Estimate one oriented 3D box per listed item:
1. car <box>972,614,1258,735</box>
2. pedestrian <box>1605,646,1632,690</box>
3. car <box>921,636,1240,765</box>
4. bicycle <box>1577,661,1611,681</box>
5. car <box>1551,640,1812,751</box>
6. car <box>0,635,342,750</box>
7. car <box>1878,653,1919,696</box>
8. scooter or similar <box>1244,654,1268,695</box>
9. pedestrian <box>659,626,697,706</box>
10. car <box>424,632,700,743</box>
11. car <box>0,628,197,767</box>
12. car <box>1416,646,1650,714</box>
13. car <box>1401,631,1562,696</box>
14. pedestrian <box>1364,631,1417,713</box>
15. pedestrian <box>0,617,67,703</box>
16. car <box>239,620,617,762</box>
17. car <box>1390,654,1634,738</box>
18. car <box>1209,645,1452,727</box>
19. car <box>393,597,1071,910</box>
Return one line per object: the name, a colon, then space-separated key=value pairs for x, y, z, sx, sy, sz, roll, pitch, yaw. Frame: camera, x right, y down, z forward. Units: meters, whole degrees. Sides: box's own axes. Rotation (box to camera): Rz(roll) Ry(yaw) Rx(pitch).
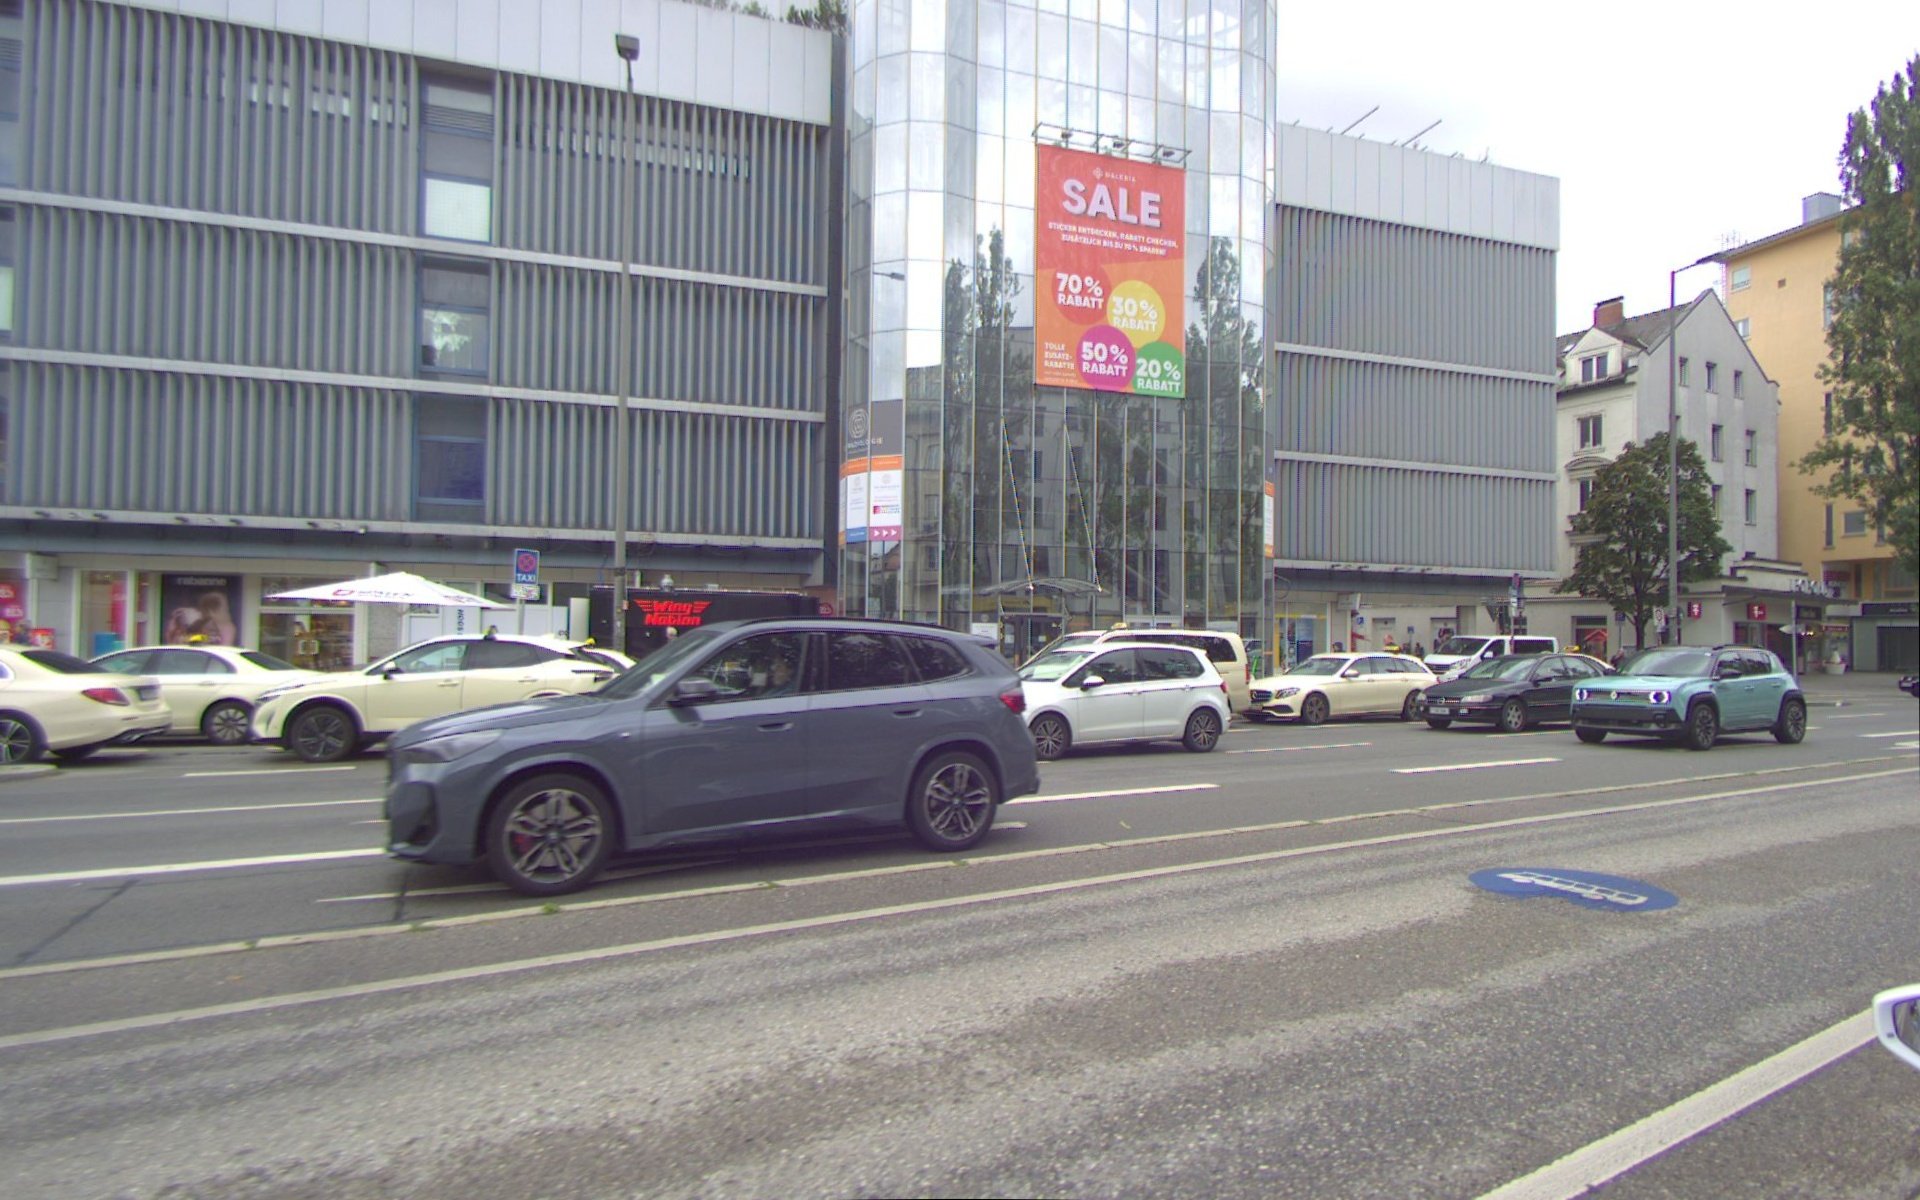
car: x=3.003 y=1.378 z=19.131 sx=5.254 sy=2.040 sz=1.986 roll=2 pitch=-3 yaw=-28
pedestrian: x=22.937 y=2.366 z=34.992 sx=0.647 sy=1.514 sz=0.543 roll=1 pitch=-2 yaw=-26
car: x=1.771 y=1.349 z=14.528 sx=4.237 sy=1.621 sz=1.986 roll=2 pitch=-3 yaw=-29
bicycle: x=30.897 y=3.458 z=48.957 sx=1.855 sy=0.976 sz=0.457 roll=1 pitch=-2 yaw=-25
car: x=11.513 y=1.461 z=16.005 sx=3.951 sy=1.565 sz=1.810 roll=2 pitch=-4 yaw=-29
car: x=-11.750 y=1.319 z=15.051 sx=3.942 sy=1.556 sz=1.749 roll=1 pitch=-2 yaw=-23
car: x=35.216 y=2.599 z=34.911 sx=4.418 sy=1.458 sz=1.929 roll=-1 pitch=-3 yaw=20
scooter or similar: x=8.847 y=2.223 z=30.034 sx=0.991 sy=1.188 sz=0.251 roll=2 pitch=-3 yaw=-44
pedestrian: x=-6.656 y=1.544 z=23.711 sx=0.805 sy=1.828 sz=0.788 roll=1 pitch=-2 yaw=-18
car: x=-6.374 y=1.375 z=16.382 sx=3.942 sy=1.637 sz=1.768 roll=2 pitch=-2 yaw=-22
car: x=-12.249 y=1.108 z=11.834 sx=4.775 sy=1.561 sz=1.943 roll=1 pitch=-2 yaw=-21
car: x=13.386 y=1.844 z=23.522 sx=4.900 sy=1.488 sz=1.857 roll=1 pitch=-4 yaw=-16
car: x=17.425 y=2.074 z=33.555 sx=5.037 sy=2.040 sz=1.990 roll=1 pitch=-2 yaw=-22
pedestrian: x=10.189 y=1.694 z=23.800 sx=0.833 sy=1.891 sz=0.785 roll=1 pitch=-2 yaw=-18
pedestrian: x=-17.444 y=1.107 z=18.750 sx=0.885 sy=1.566 sz=0.731 roll=1 pitch=-2 yaw=-17
car: x=-7.020 y=1.202 z=13.844 sx=4.316 sy=1.720 sz=1.884 roll=1 pitch=-3 yaw=-20
car: x=10.606 y=1.761 z=19.263 sx=4.624 sy=1.427 sz=1.724 roll=1 pitch=-2 yaw=-25
car: x=7.972 y=1.777 z=21.561 sx=5.018 sy=1.572 sz=1.972 roll=2 pitch=-3 yaw=-26
car: x=-1.547 y=0.915 z=7.254 sx=4.360 sy=1.642 sz=1.985 roll=2 pitch=-3 yaw=-29
